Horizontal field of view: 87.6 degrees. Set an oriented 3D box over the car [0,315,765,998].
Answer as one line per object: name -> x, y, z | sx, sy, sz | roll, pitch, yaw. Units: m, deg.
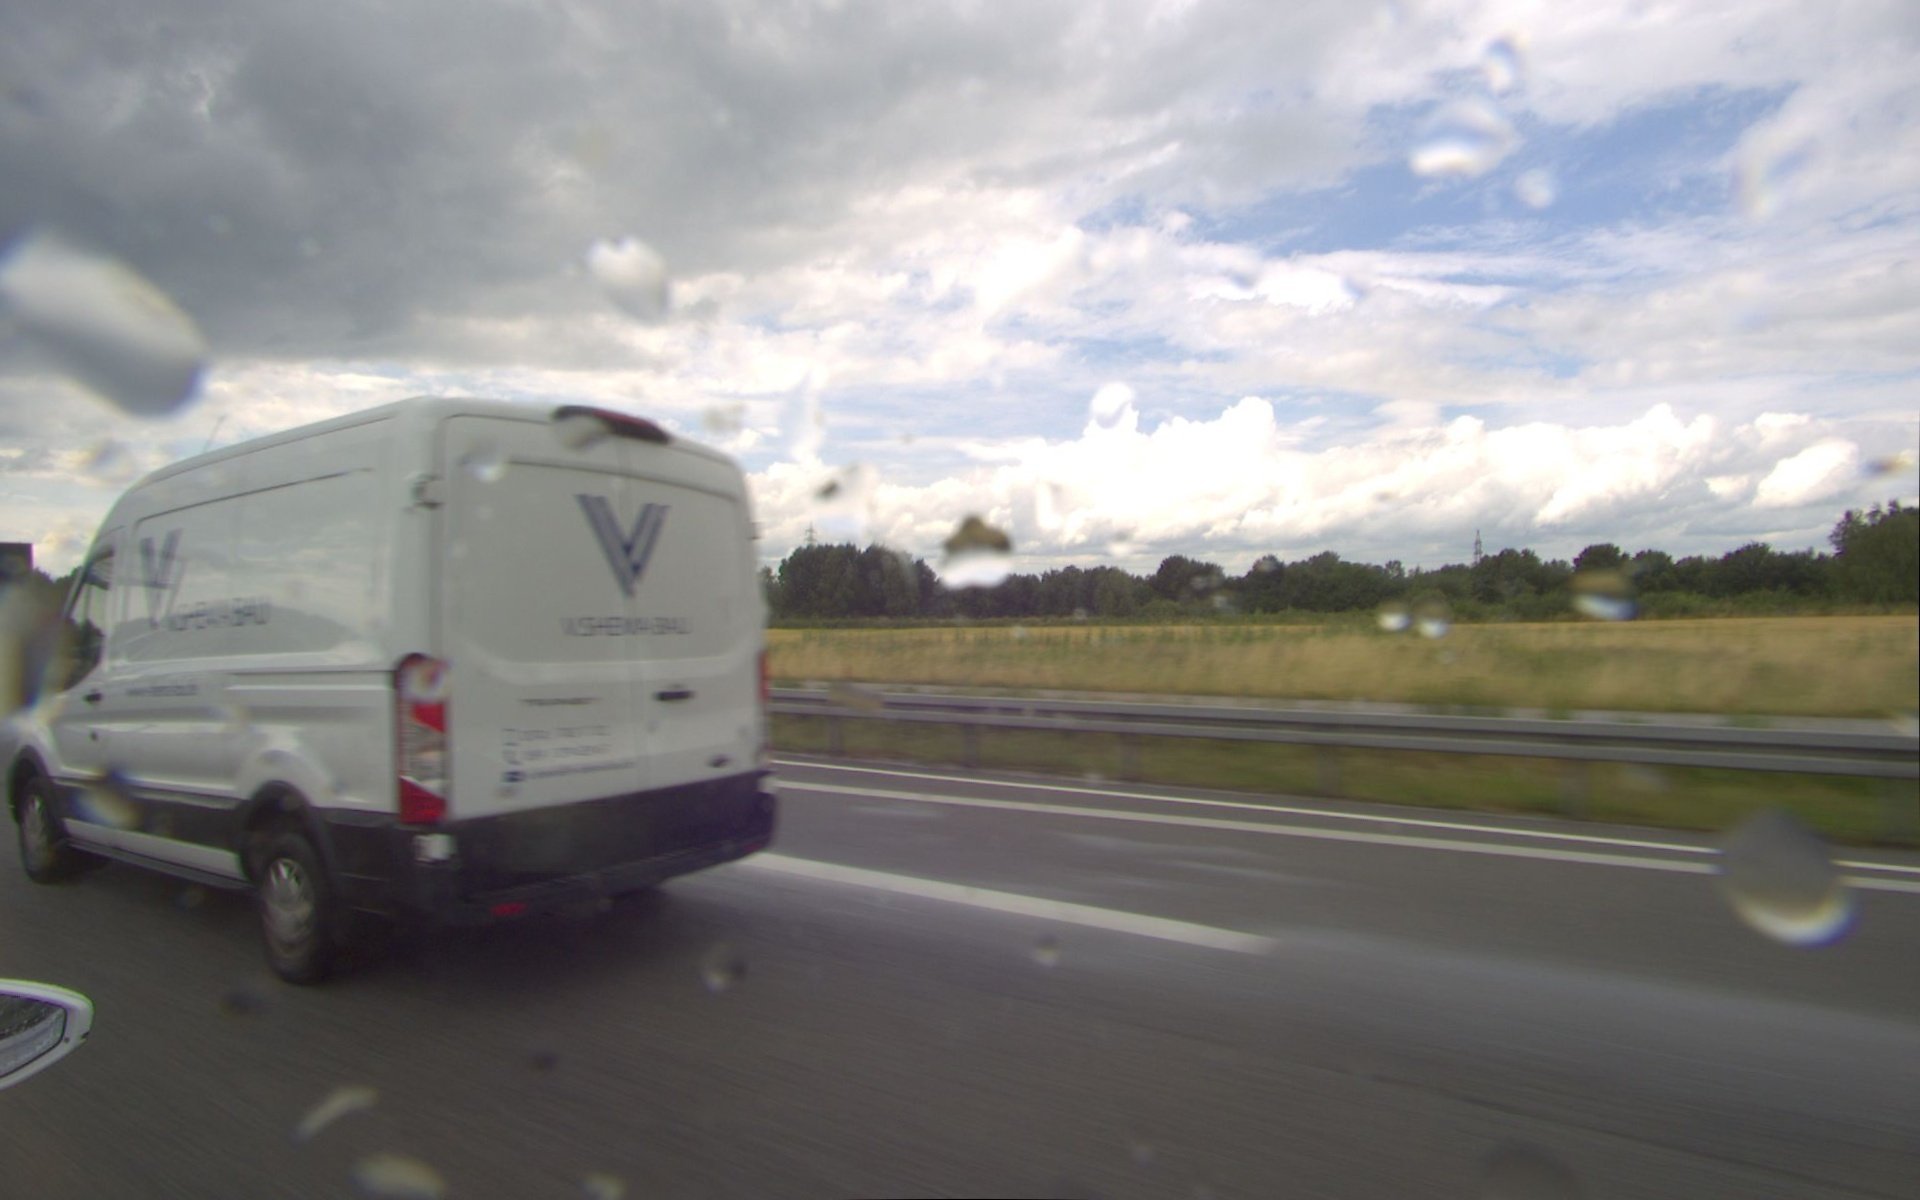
car -> -3.883, 0.286, 6.117 | 5.373, 2.533, 2.135 | -1, -2, 34
